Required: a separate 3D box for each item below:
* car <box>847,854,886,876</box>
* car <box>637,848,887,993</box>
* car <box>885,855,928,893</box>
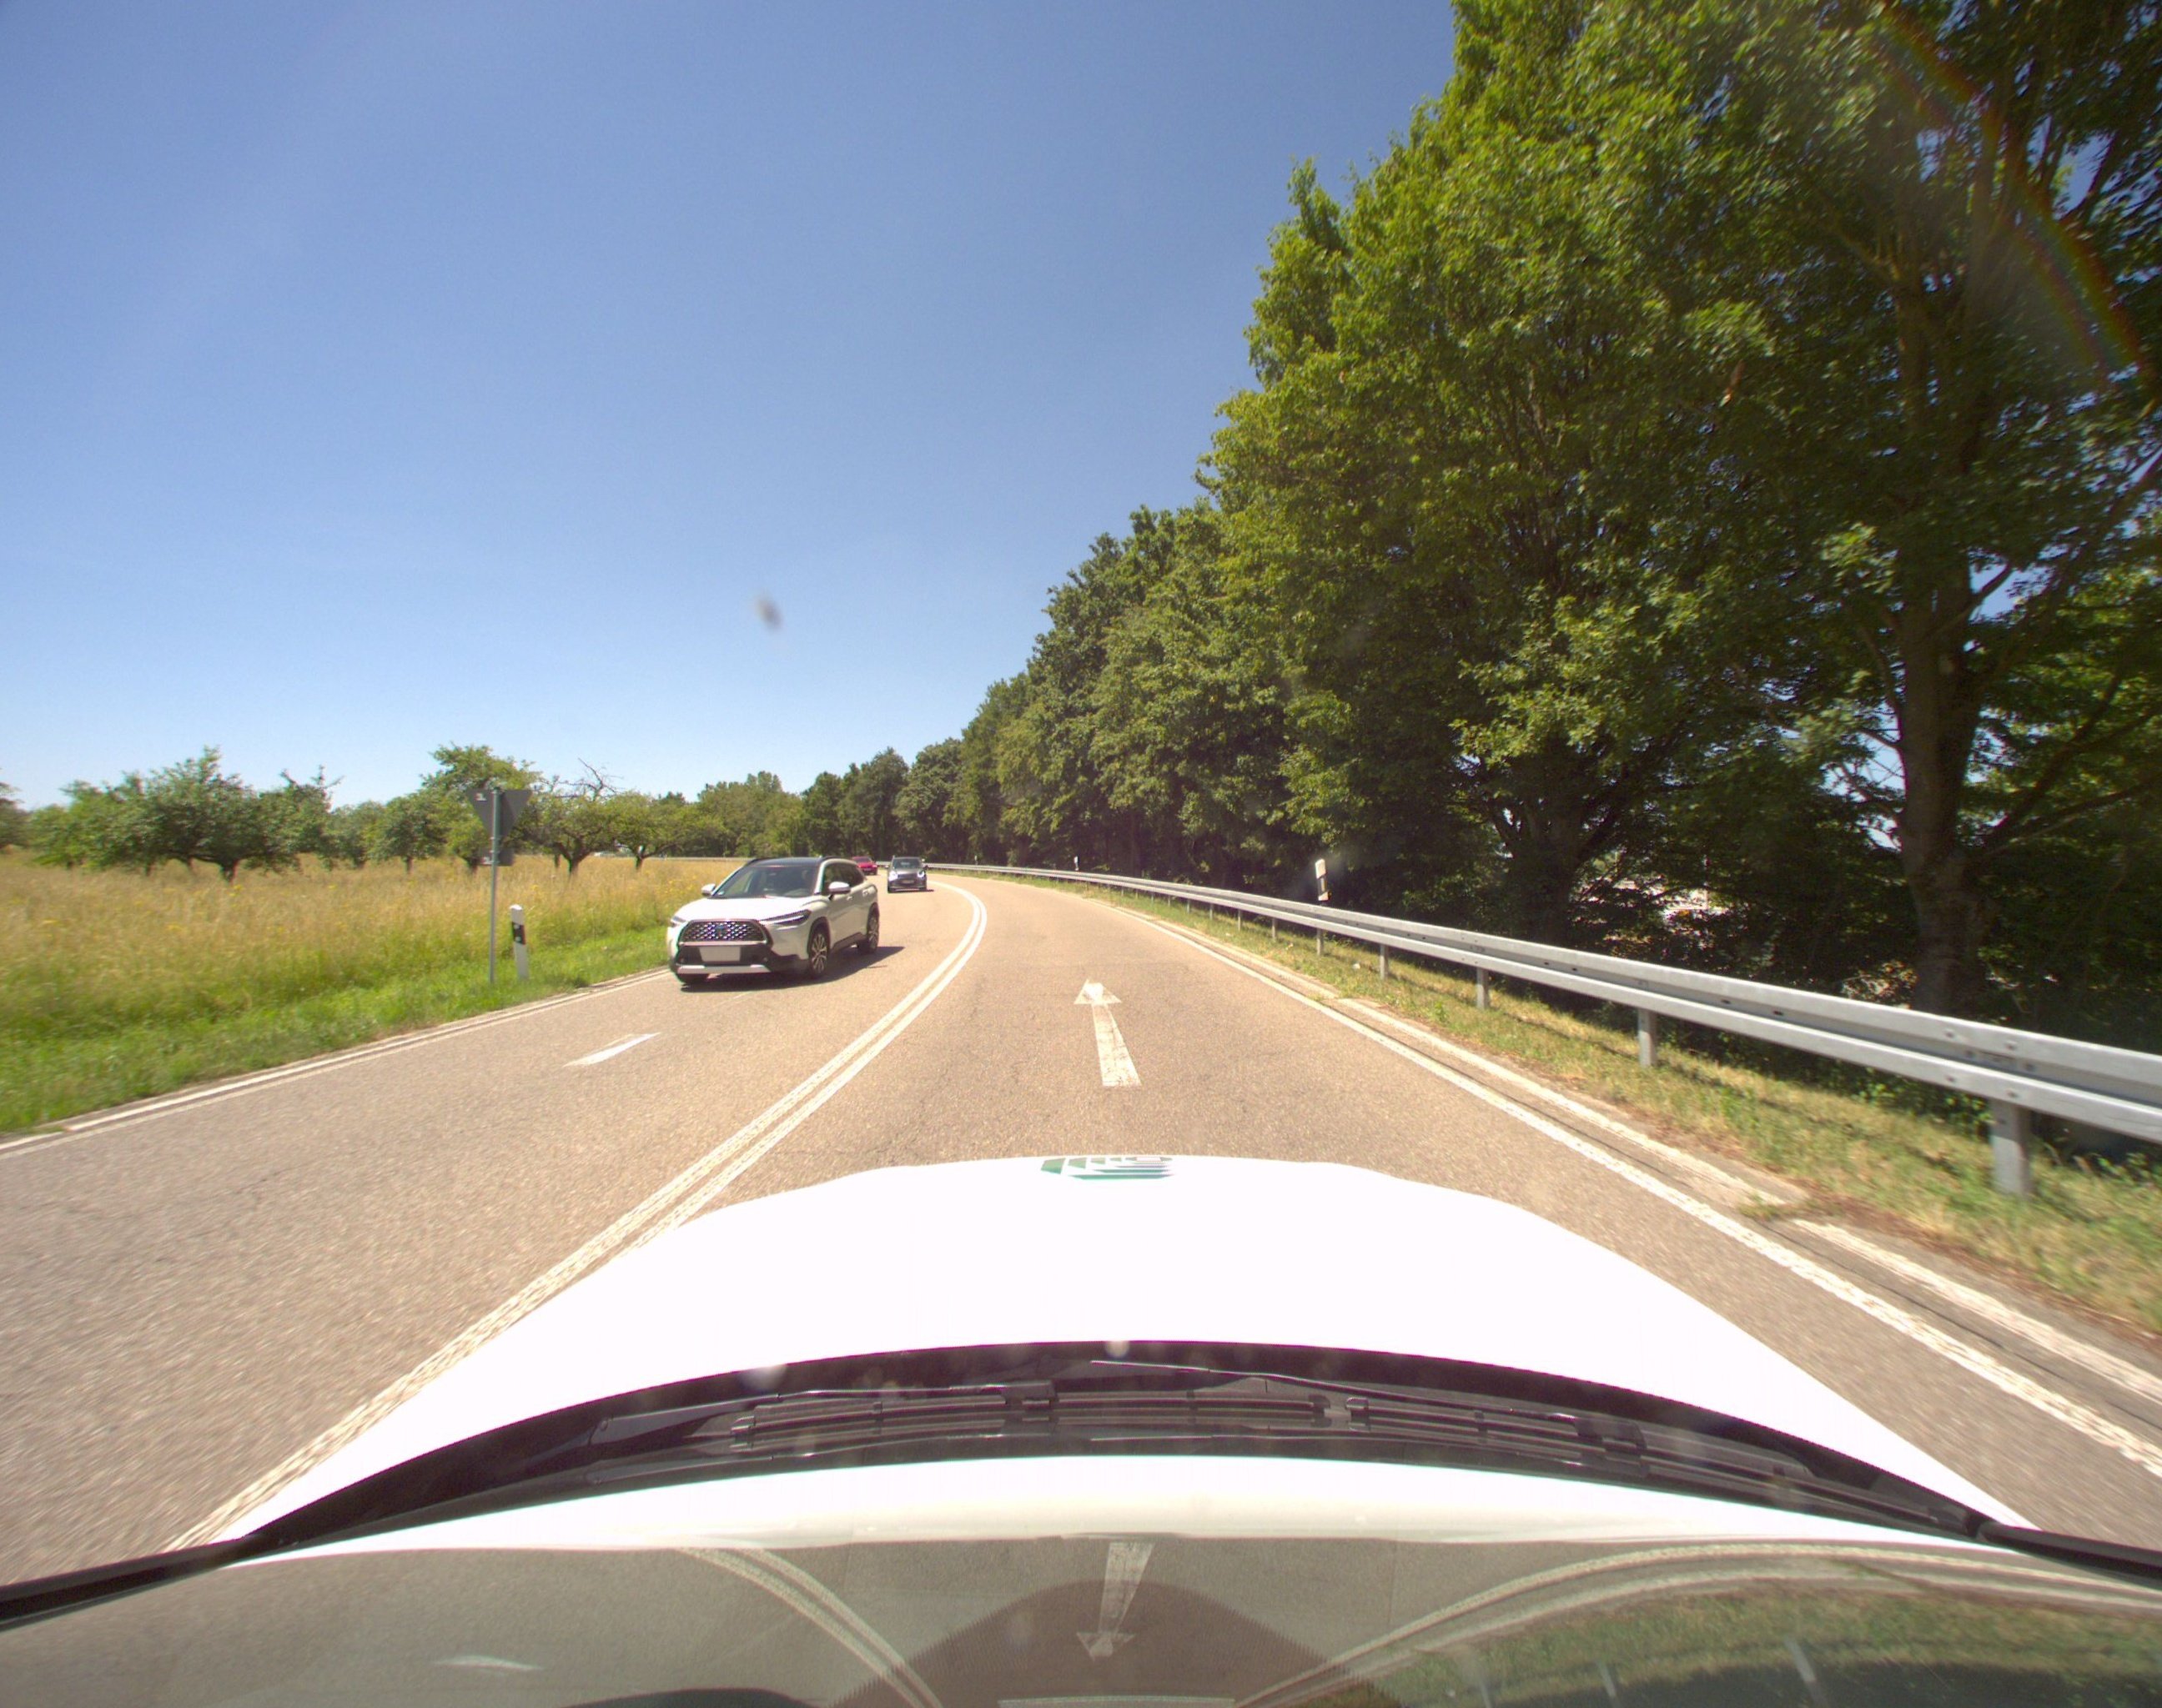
[{"bbox_3d":[-16.569,0.855,62.693,1.833,1.458,4.358,-3,-1,-29],"label":"car"},{"bbox_3d":[-4.276,0.815,11.740,1.816,1.590,4.217,-4,-1,0],"label":"car"},{"bbox_3d":[-7.825,0.855,36.370,1.737,1.506,4.054,-2,0,-13],"label":"car"}]
